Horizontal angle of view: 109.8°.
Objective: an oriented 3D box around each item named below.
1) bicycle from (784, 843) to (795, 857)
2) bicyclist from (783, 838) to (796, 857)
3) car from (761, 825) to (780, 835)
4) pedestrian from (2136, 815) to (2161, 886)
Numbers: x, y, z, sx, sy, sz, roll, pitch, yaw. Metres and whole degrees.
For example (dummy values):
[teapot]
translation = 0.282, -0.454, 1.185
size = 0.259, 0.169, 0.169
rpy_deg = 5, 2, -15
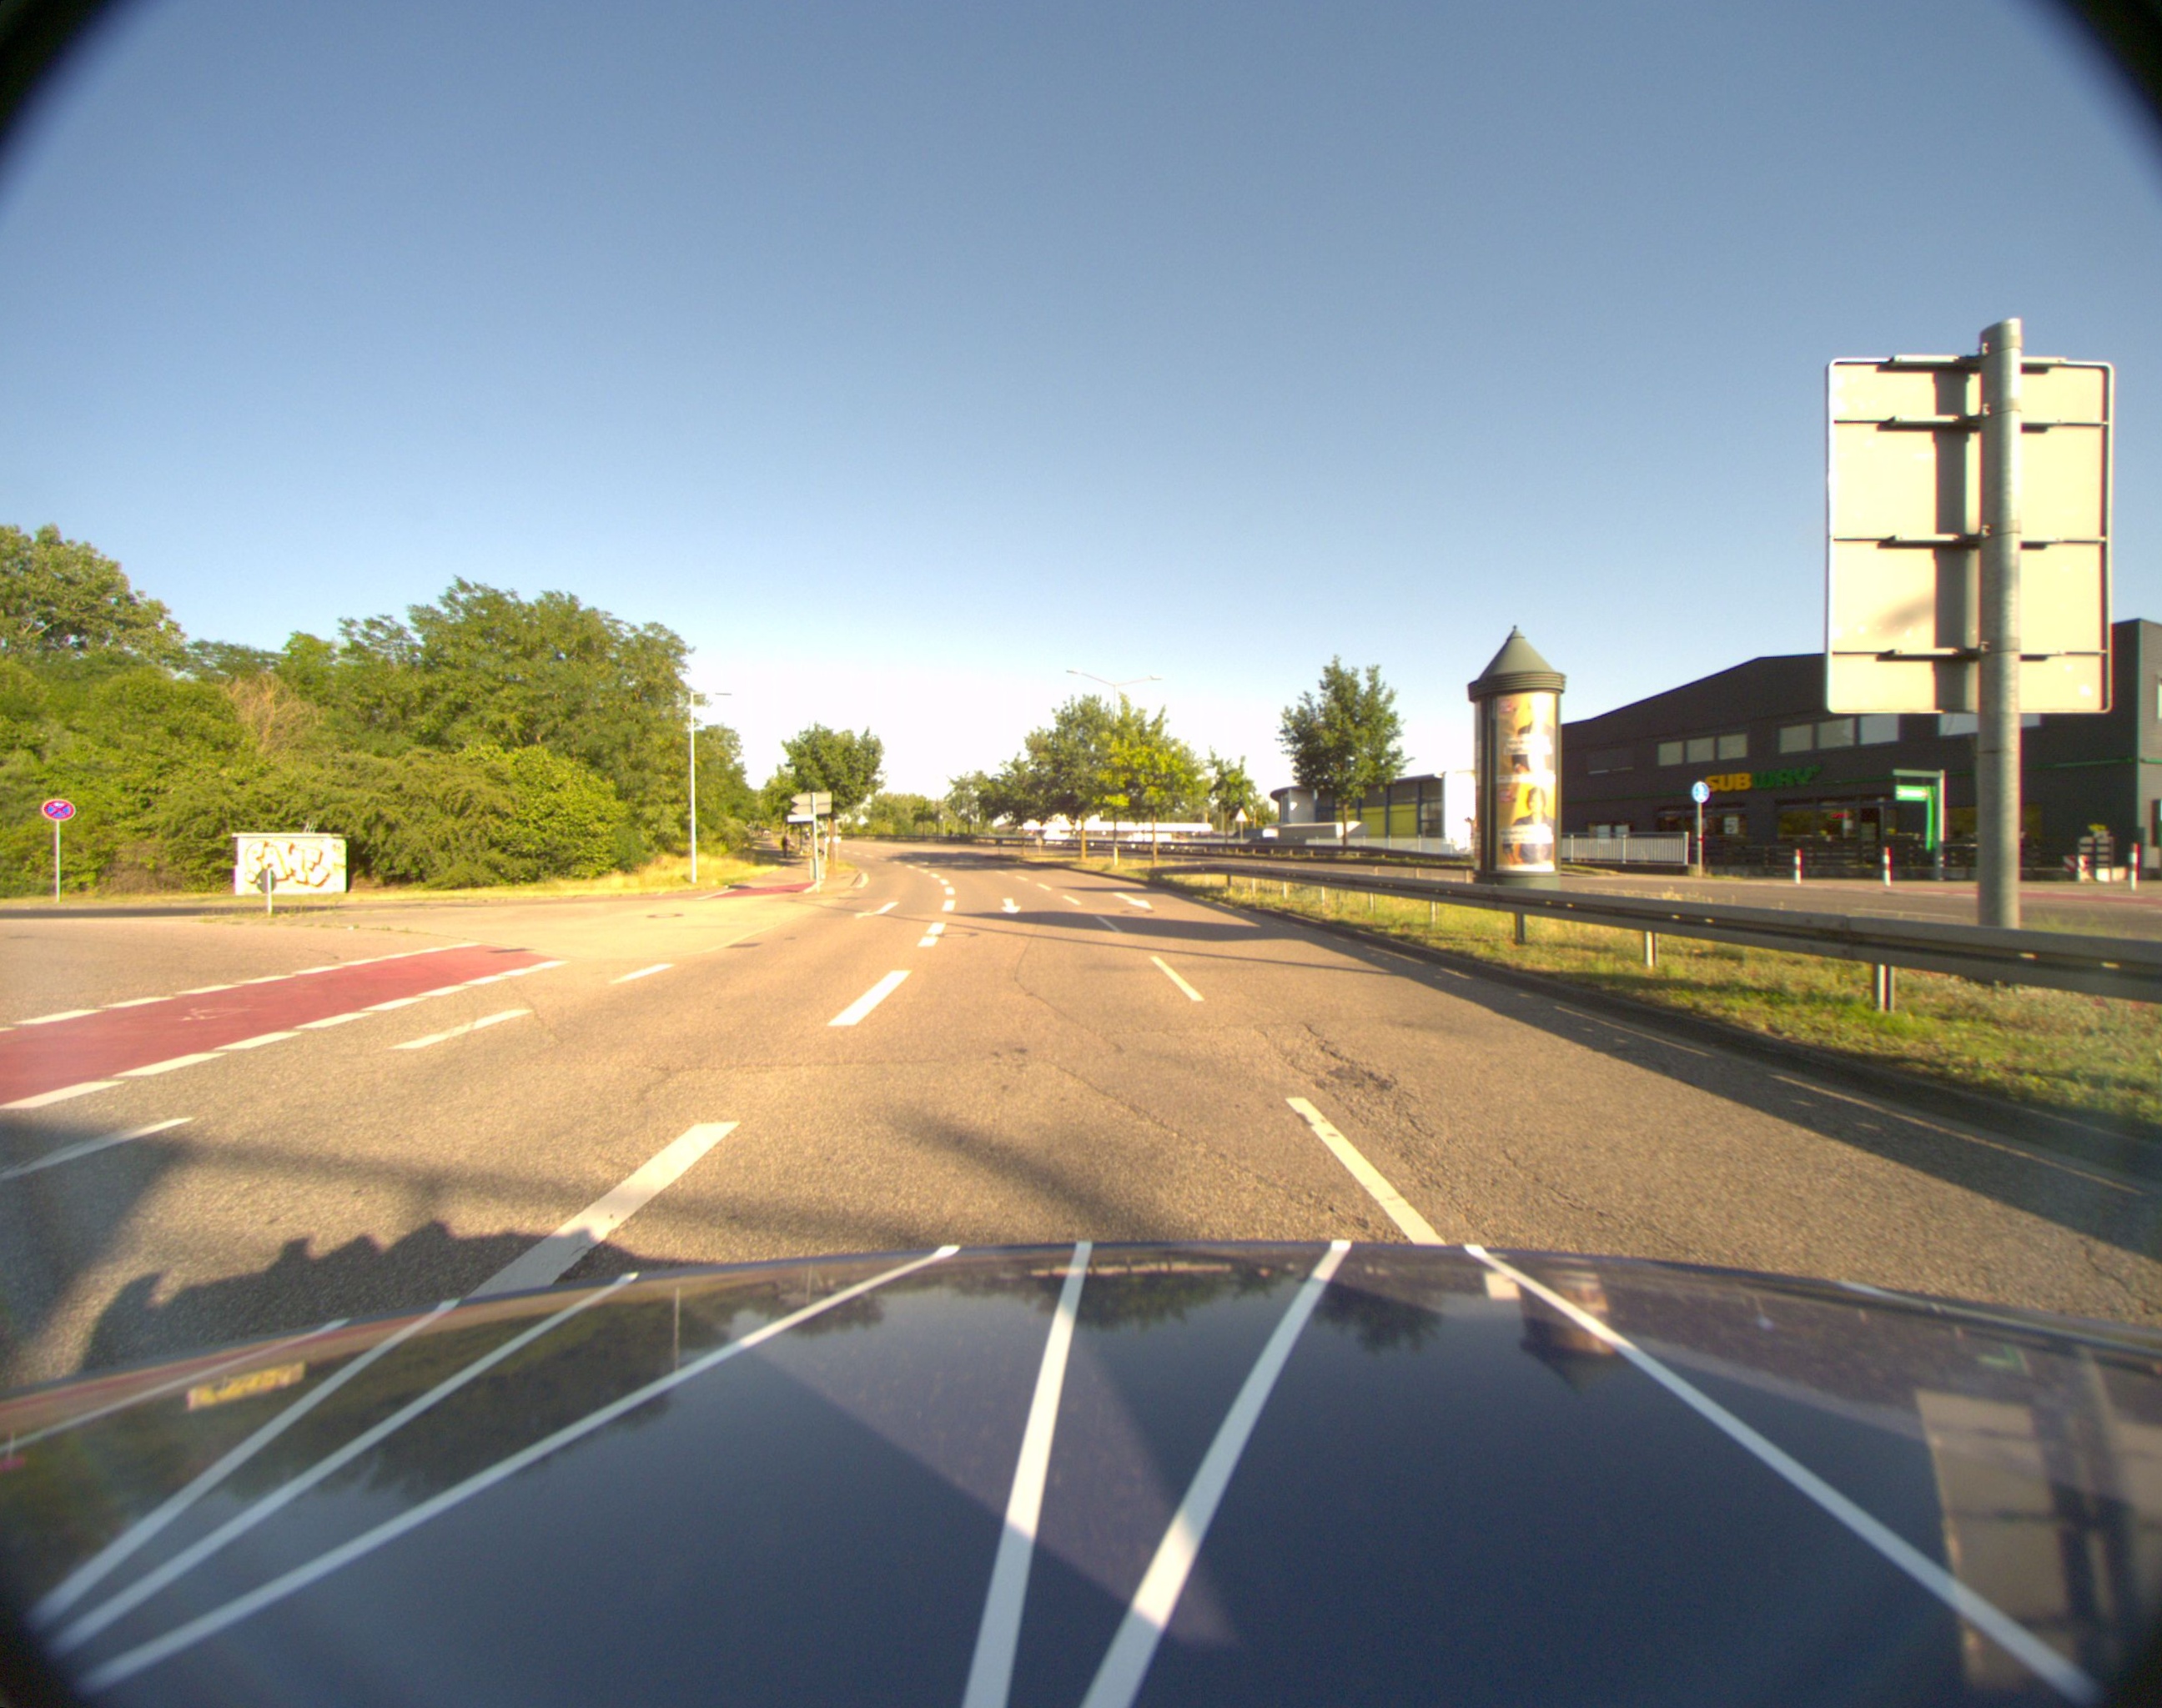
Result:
[bicycle]
translation = -22.619, -0.307, 58.926
size = 0.783, 1.051, 2.492
rpy_deg = -3, 1, -21
[bicyclist]
translation = -22.600, -0.481, 58.891
size = 0.844, 1.413, 1.112
rpy_deg = -3, 2, -21
[car]
translation = -60.158, -4.610, 146.970
size = 2.004, 1.762, 3.989
rpy_deg = -3, 2, -44
[pedestrian]
translation = 28.513, -0.117, 19.534
size = 1.274, 1.825, 1.085
rpy_deg = -2, 2, 1
